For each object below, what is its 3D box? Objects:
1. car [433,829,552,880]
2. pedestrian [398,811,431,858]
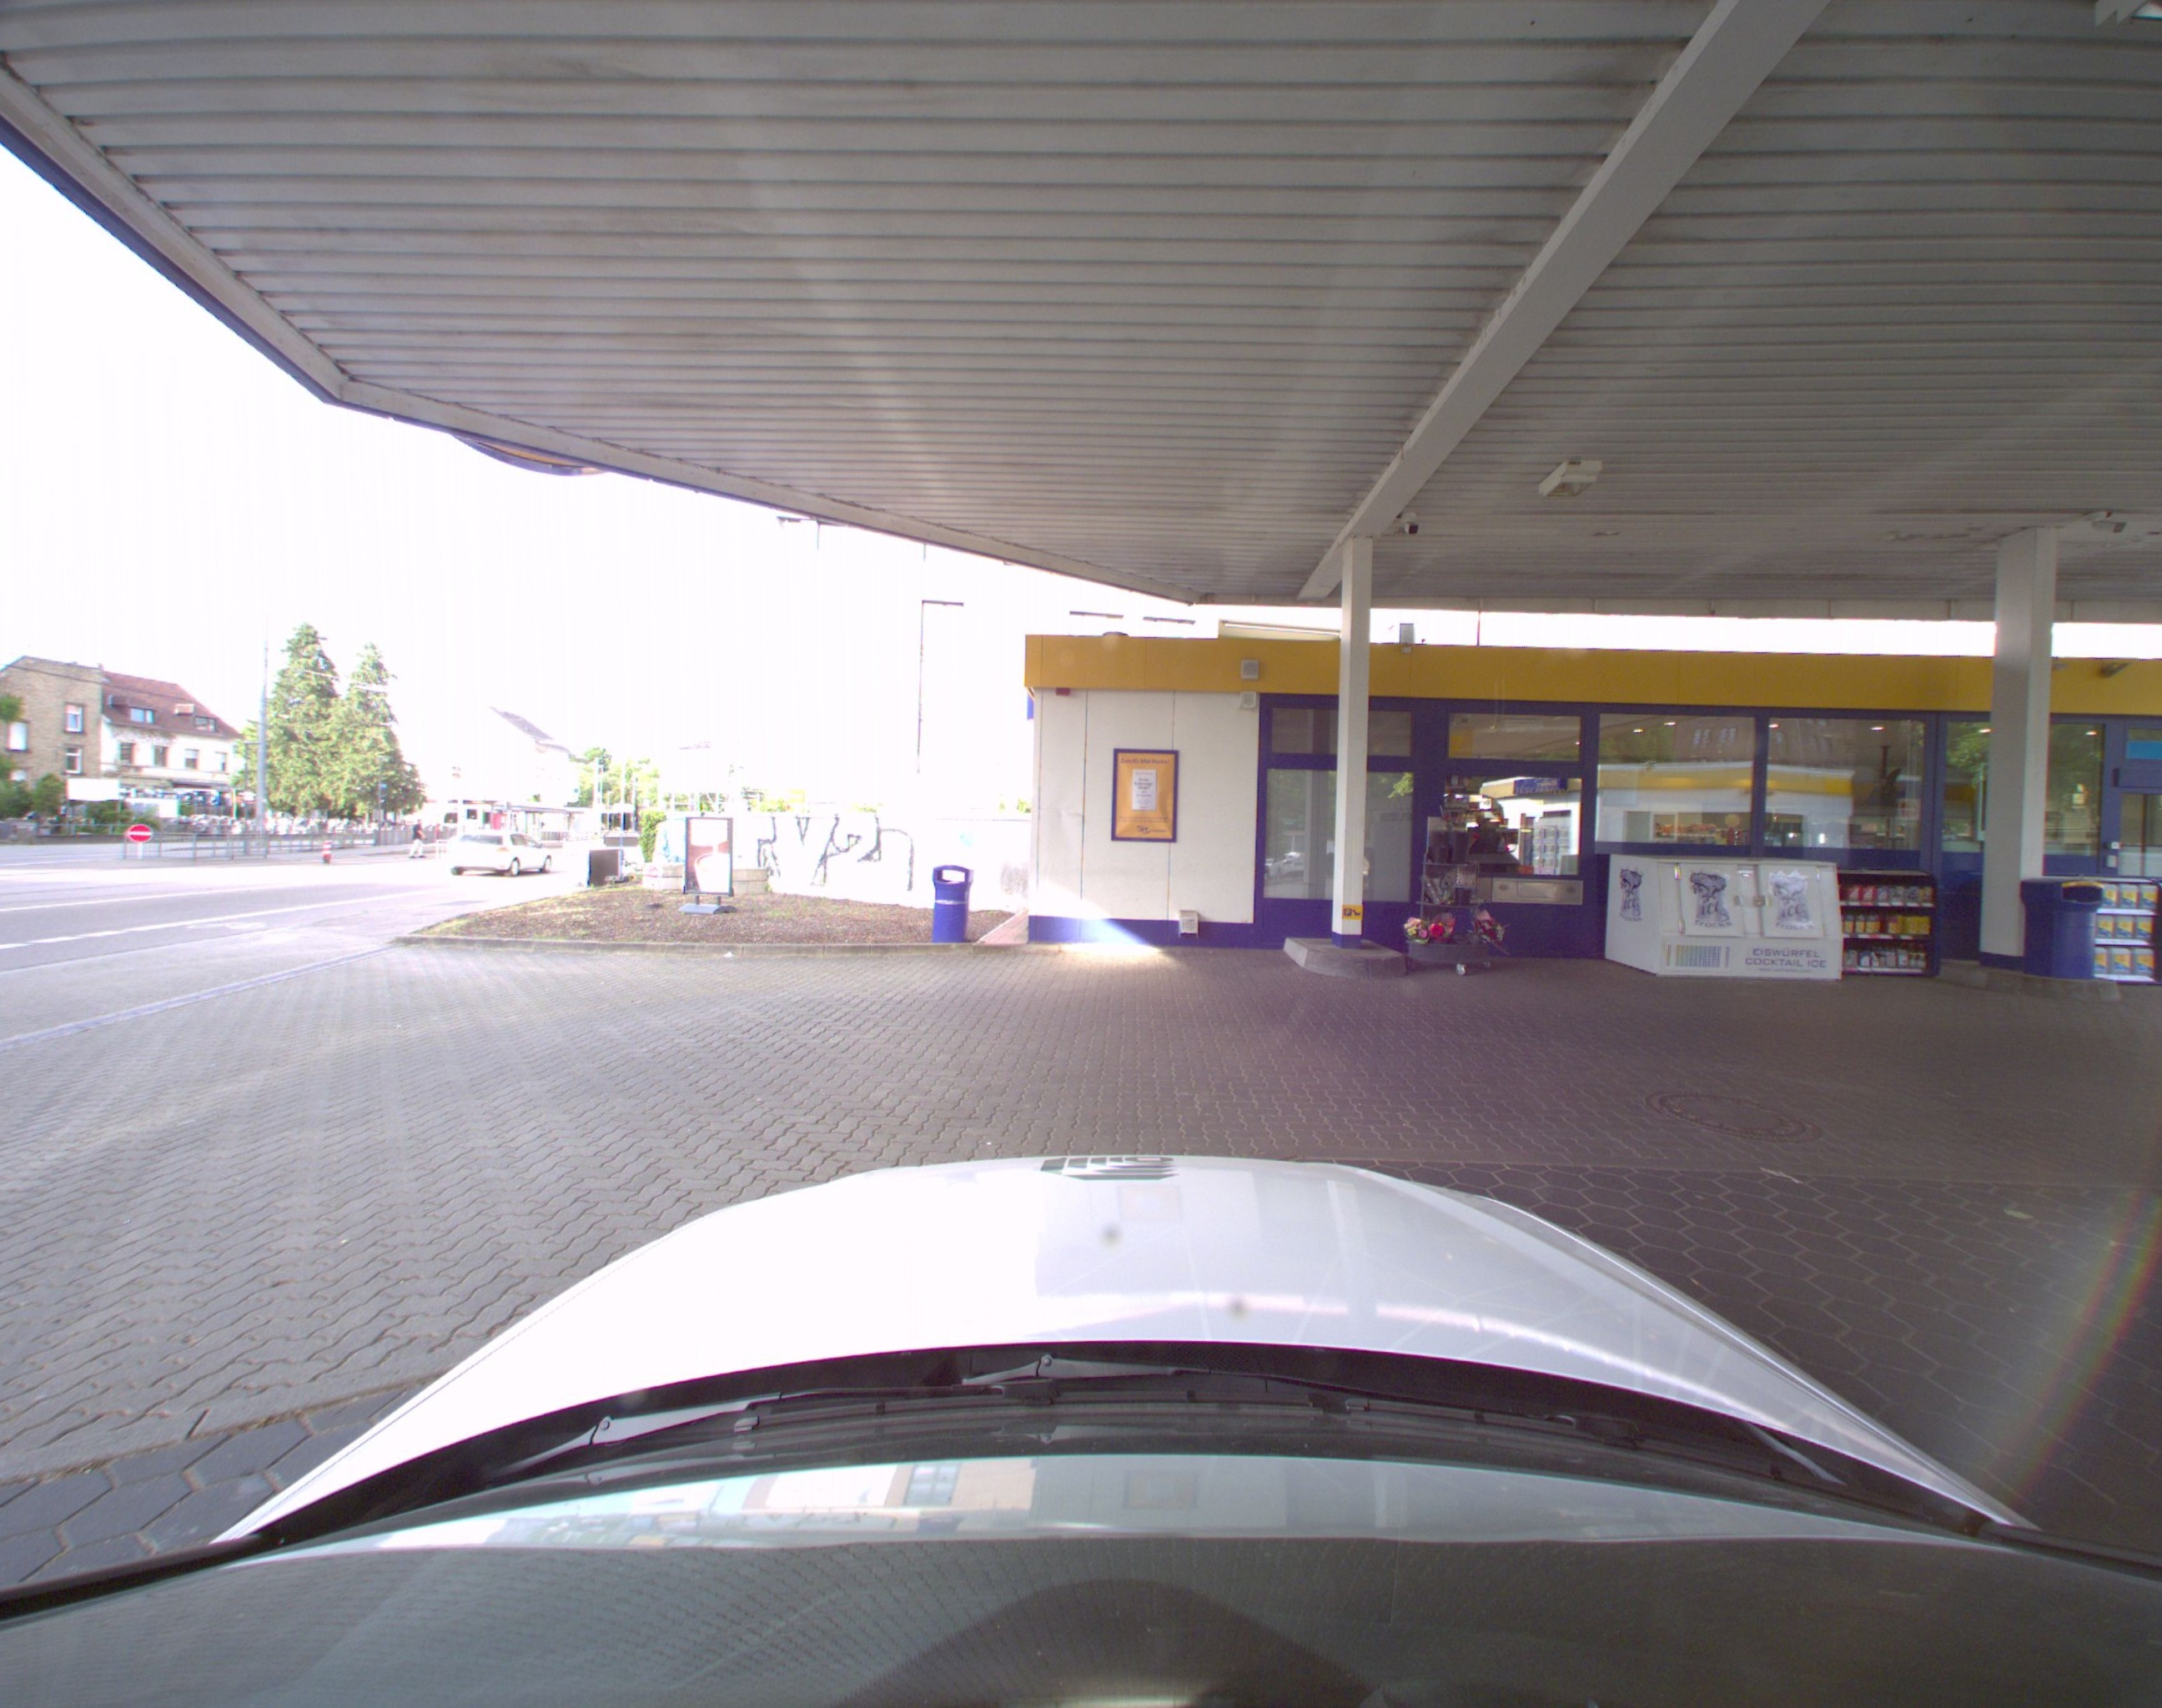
[{"bbox_3d":[-19.280,-0.035,26.917,1.756,1.476,3.981,3,1,-14],"label":"car"},{"bbox_3d":[-29.344,-0.840,35.871,0.799,2.014,0.855,-1,-1,24],"label":"pedestrian"}]
